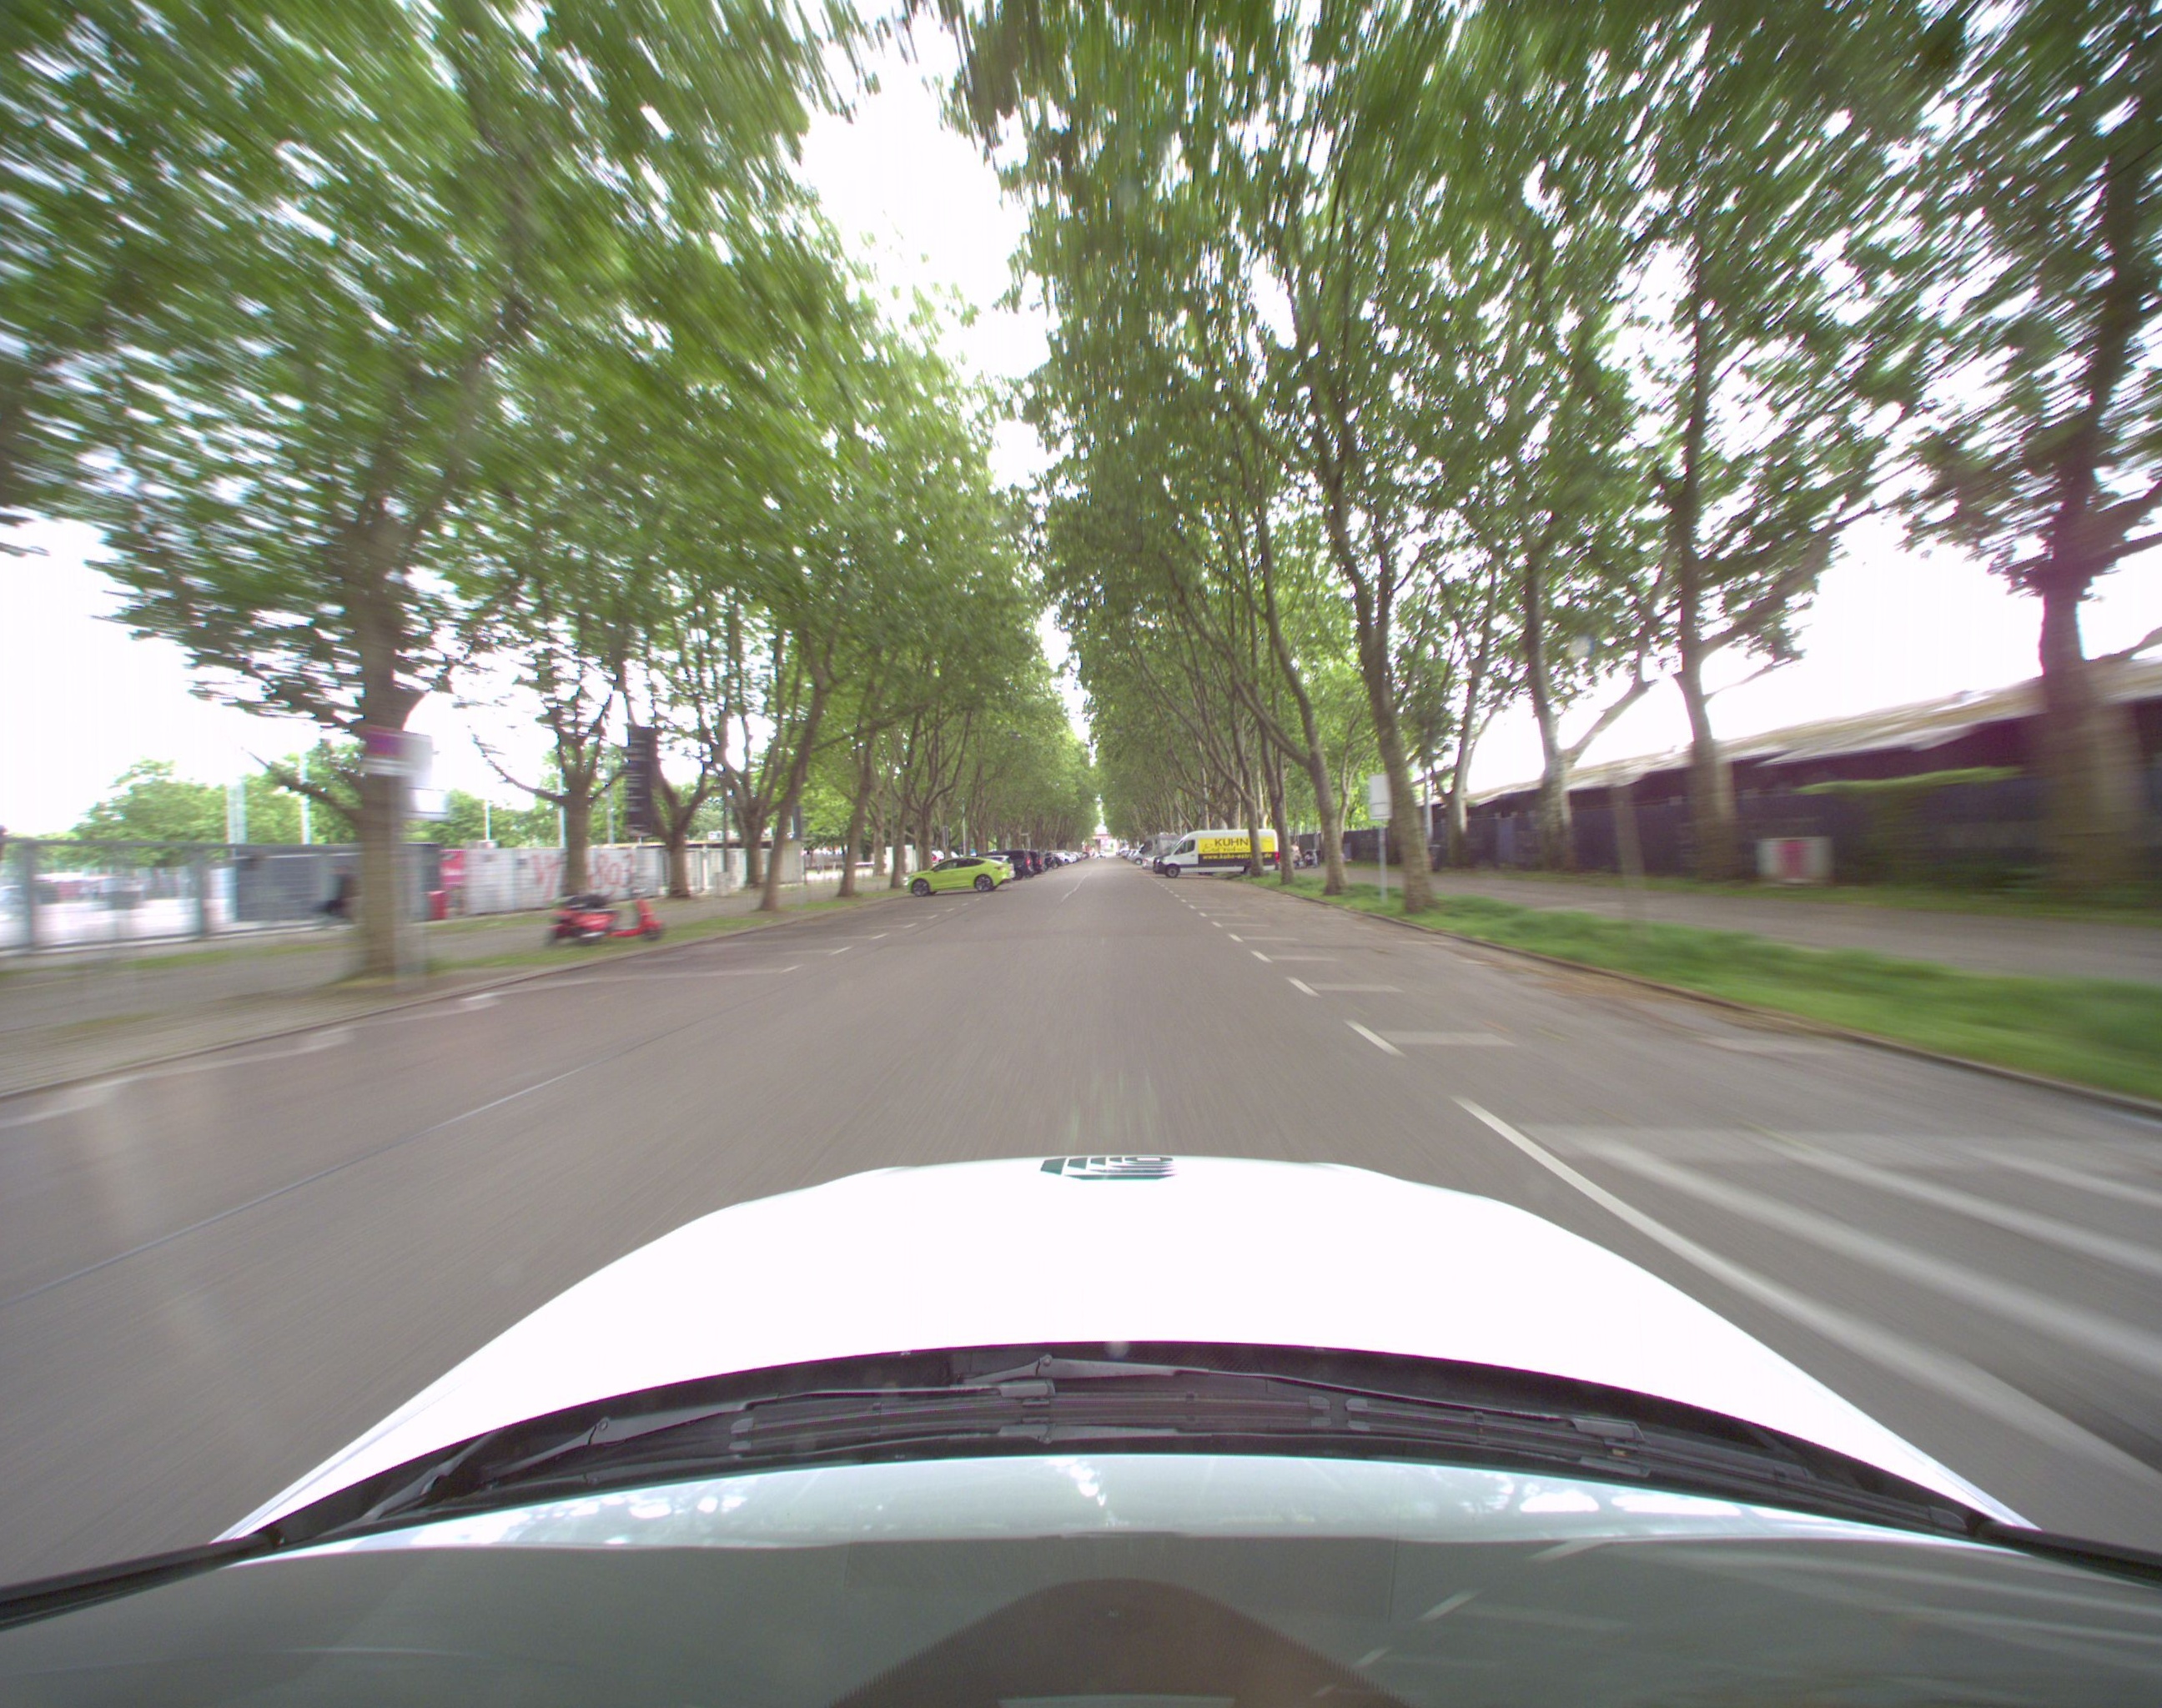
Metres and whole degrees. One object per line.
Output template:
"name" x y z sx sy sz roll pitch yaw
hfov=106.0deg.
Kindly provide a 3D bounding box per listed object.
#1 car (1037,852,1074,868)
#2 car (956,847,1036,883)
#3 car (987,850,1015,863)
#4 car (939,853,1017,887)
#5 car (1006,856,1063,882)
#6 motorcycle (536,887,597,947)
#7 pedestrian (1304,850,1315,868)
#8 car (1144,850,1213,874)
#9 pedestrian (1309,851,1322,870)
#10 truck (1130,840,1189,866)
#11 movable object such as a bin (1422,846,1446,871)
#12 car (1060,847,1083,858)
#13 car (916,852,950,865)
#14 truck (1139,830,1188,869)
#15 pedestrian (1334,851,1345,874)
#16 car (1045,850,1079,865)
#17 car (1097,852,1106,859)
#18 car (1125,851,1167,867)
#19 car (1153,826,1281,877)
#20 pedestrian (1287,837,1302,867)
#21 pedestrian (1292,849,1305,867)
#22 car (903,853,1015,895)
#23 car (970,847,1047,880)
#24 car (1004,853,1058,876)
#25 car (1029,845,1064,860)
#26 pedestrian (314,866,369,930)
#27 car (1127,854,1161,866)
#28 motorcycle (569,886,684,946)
"car" -3.065 0.720 99.161 4.366 1.597 2.000 -4 0 0
"car" -5.241 0.679 50.683 4.751 1.924 2.016 -3 0 -3
"car" -17.003 0.460 173.009 5.763 2.597 2.001 -1 0 2
"car" -5.717 0.866 45.589 4.096 1.568 1.756 -4 0 -3
"car" -4.573 1.476 80.571 5.418 2.127 1.940 -4 0 0
"motorcycle" -11.184 1.335 17.763 0.574 1.158 2.065 -1 0 -16
"pedestrian" 13.650 0.289 48.656 0.421 1.035 0.392 -1 0 -38
"car" 6.327 0.521 53.041 4.338 1.445 1.615 -1 0 5
"pedestrian" 13.633 0.351 47.306 0.589 1.048 0.589 -4 0 5
"truck" 8.567 -0.121 89.171 6.265 2.715 2.100 -1 0 4
"movable object such as a bin" 14.474 0.165 33.405 0.566 0.959 0.675 -7 0 1
"car" -1.646 -0.171 139.235 3.816 1.627 1.952 -4 0 -1
"car" -27.955 0.837 153.691 5.980 2.252 2.001 -1 0 1
"truck" 6.663 -0.329 66.724 2.456 2.938 7.521 -1 0 -7
"pedestrian" 12.766 0.417 40.236 0.393 1.084 0.419 -4 -1 5
"car" -2.854 0.509 122.052 4.877 2.019 1.920 -4 0 1
"car" 4.485 0.320 177.467 1.650 1.364 4.109 -5 0 -2
"car" 6.767 0.517 84.318 4.320 1.618 1.806 0 0 4
"car" 7.516 -0.136 45.482 6.852 2.695 2.129 -1 0 3
"pedestrian" 12.628 -0.104 48.110 0.636 1.741 0.621 -4 0 5
"pedestrian" 12.625 0.237 47.271 0.637 1.059 0.676 -1 0 3
"car" -5.322 0.857 35.827 4.496 1.618 1.760 -2 0 4
"car" -4.937 0.631 55.747 4.886 1.924 2.209 -3 0 2
"car" -4.534 0.919 73.043 4.652 1.820 1.800 -2 -2 -9
"car" -4.490 -0.212 107.050 4.327 1.667 2.000 -5 0 0
"pedestrian" -20.861 1.233 22.985 0.701 1.754 0.874 -1 0 1
"car" 7.645 0.709 99.140 4.102 1.429 1.704 1 -1 3
"motorcycle" -9.875 1.316 17.760 0.568 1.158 2.089 -1 0 45
